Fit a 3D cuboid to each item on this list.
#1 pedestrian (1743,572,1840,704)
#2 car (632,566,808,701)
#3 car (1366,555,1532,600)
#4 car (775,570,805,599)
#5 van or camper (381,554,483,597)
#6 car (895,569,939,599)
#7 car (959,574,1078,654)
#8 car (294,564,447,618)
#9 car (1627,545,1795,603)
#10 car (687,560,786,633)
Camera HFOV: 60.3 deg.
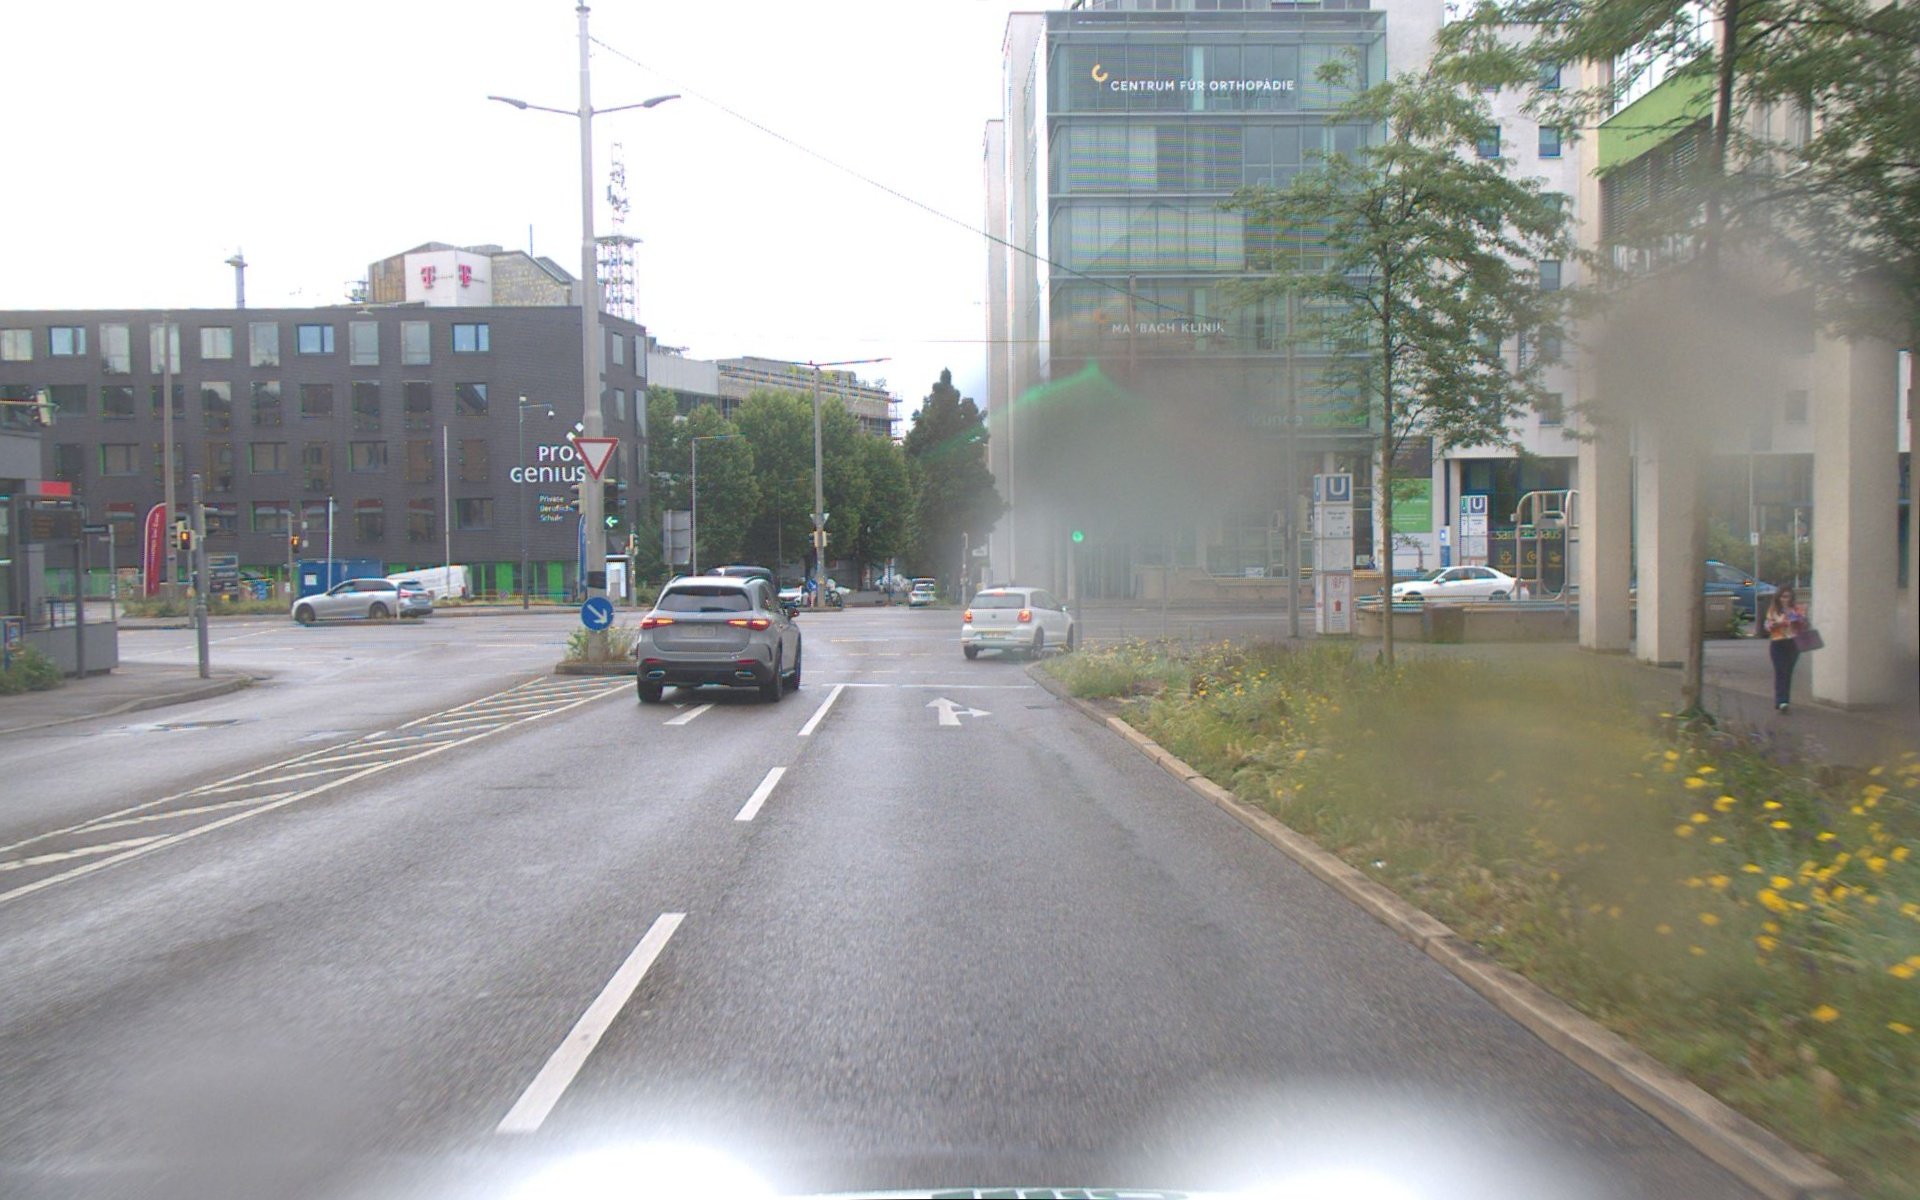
[{"bbox_3d":[11.463,0.504,22.828,0.854,1.742,1.089,1,1,8],"label":"pedestrian"},{"bbox_3d":[-3.230,0.409,23.029,1.869,1.660,4.210,1,0,-1],"label":"car"},{"bbox_3d":[15.817,-0.750,53.604,4.848,1.411,1.822,0,2,-3],"label":"car"},{"bbox_3d":[-12.691,-1.133,123.539,1.953,2.049,3.998,2,0,-2],"label":"car"},{"bbox_3d":[-31.600,-1.446,99.174,5.223,2.410,2.738,2,0,-3],"label":"van or camper"},{"bbox_3d":[-2.567,-0.942,98.428,1.958,1.747,3.989,2,0,-11],"label":"car"},{"bbox_3d":[1.313,0.251,35.540,1.636,1.499,3.782,1,3,17],"label":"car"},{"bbox_3d":[-19.499,-0.298,54.772,4.382,1.606,2.001,2,0,16],"label":"car"},{"bbox_3d":[21.367,-0.760,47.160,3.911,1.601,1.997,0,2,-8],"label":"car"},{"bbox_3d":[-5.851,-0.131,43.011,1.824,1.799,4.109,-1,1,-19],"label":"car"}]
